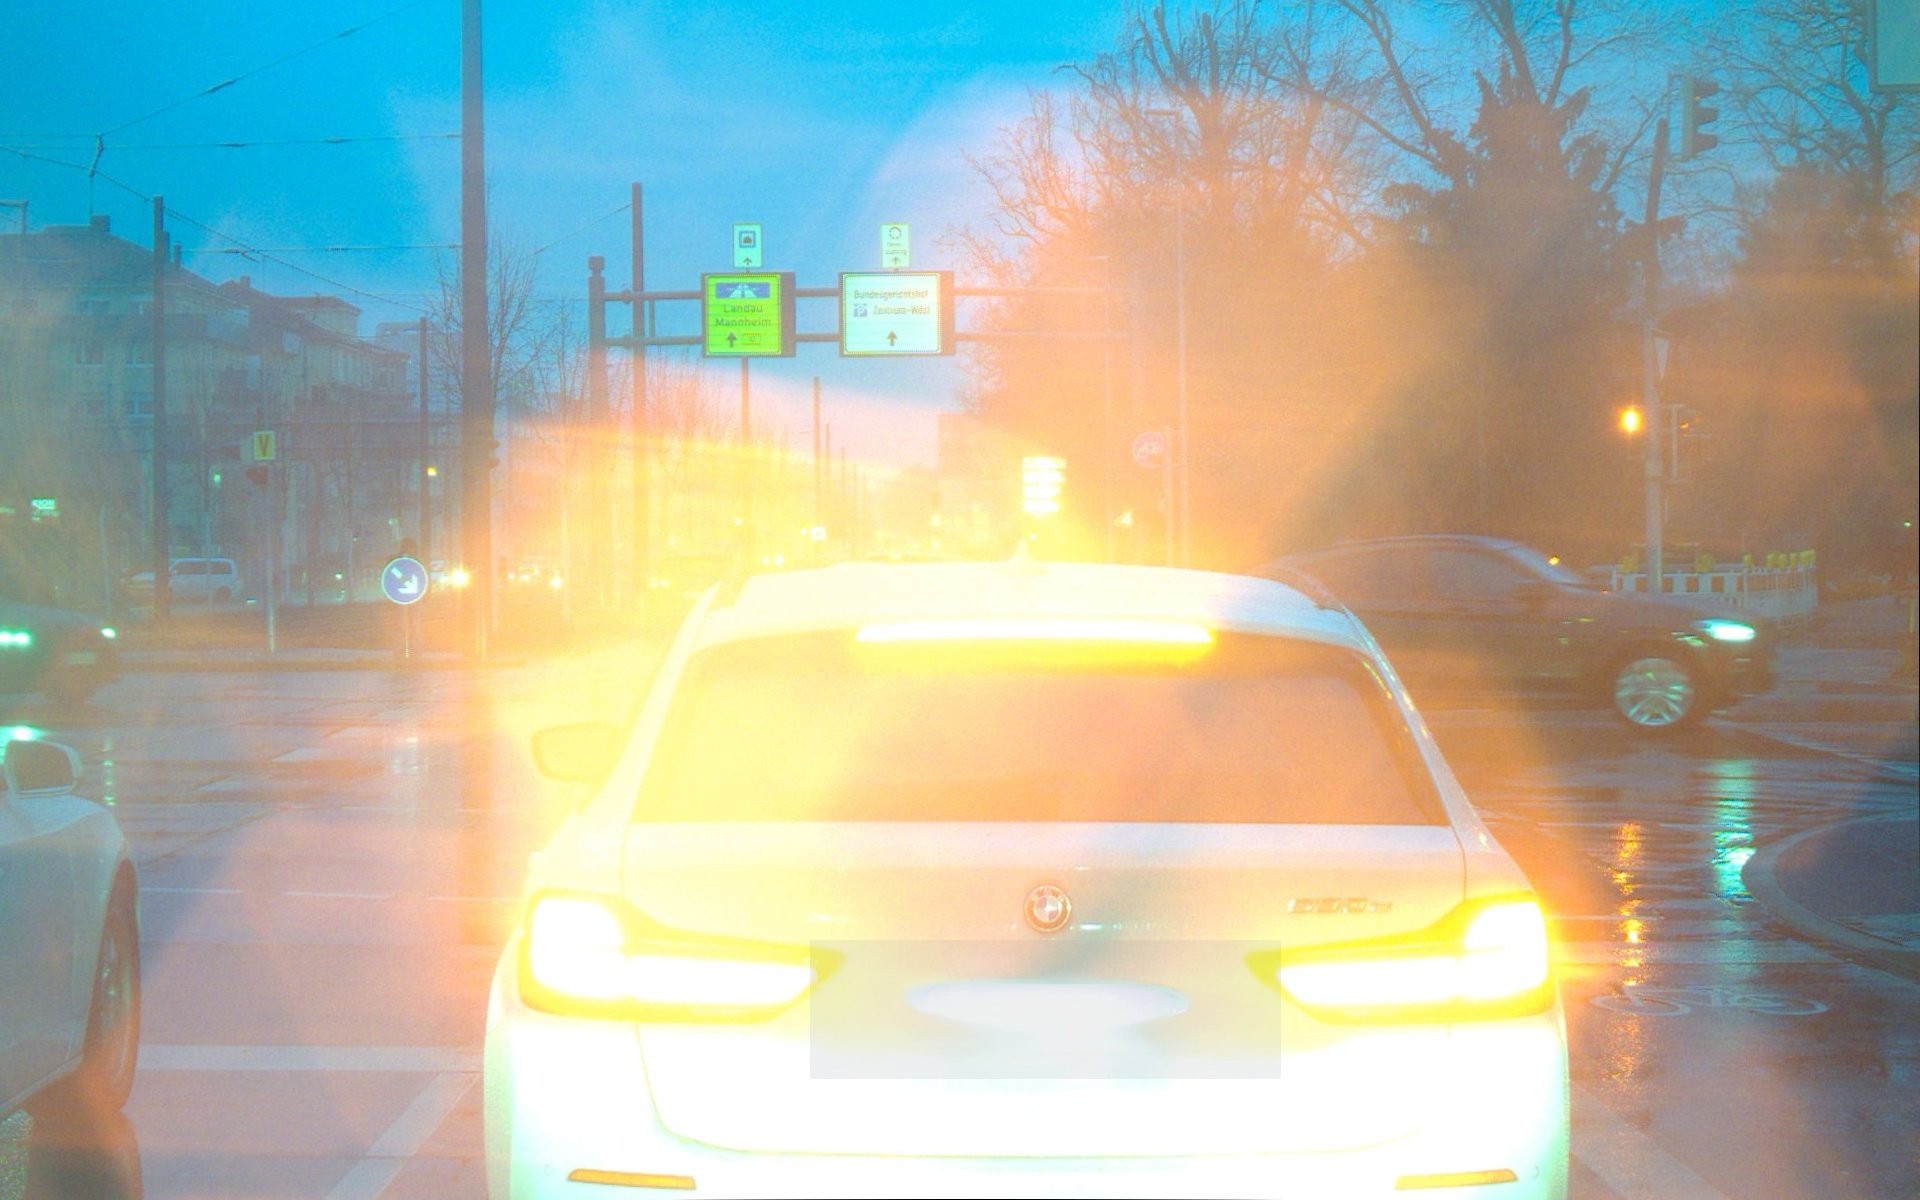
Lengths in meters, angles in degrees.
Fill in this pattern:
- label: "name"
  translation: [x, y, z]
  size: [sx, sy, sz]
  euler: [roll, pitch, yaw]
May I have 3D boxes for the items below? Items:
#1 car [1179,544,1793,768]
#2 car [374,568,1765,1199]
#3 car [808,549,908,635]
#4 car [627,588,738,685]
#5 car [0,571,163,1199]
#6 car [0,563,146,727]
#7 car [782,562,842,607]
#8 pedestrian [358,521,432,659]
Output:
- label: "car"
  translation: [4.327, 0.423, 28.227]
  size: [4.700, 1.714, 1.899]
  euler: [0, 0, 20]
- label: "car"
  translation: [0.067, 0.684, 7.107]
  size: [1.993, 1.451, 4.369]
  euler: [0, 1, -3]
- label: "car"
  translation: [-1.965, -0.151, 67.204]
  size: [1.843, 1.603, 3.945]
  euler: [1, 0, 0]
- label: "car"
  translation: [-4.862, 0.615, 60.164]
  size: [1.842, 1.603, 3.945]
  euler: [1, 0, -5]
- label: "car"
  translation: [-3.105, 0.686, 7.290]
  size: [1.993, 1.451, 4.369]
  euler: [0, 1, -3]
- label: "car"
  translation: [-10.335, 0.387, 33.497]
  size: [4.314, 1.525, 1.762]
  euler: [1, 0, 9]
- label: "car"
  translation: [-5.056, -0.539, 117.168]
  size: [1.993, 1.451, 4.369]
  euler: [0, 1, -3]
- label: "pedestrian"
  translation: [-7.693, -0.135, 46.856]
  size: [0.902, 1.850, 0.812]
  euler: [1, 0, -5]
